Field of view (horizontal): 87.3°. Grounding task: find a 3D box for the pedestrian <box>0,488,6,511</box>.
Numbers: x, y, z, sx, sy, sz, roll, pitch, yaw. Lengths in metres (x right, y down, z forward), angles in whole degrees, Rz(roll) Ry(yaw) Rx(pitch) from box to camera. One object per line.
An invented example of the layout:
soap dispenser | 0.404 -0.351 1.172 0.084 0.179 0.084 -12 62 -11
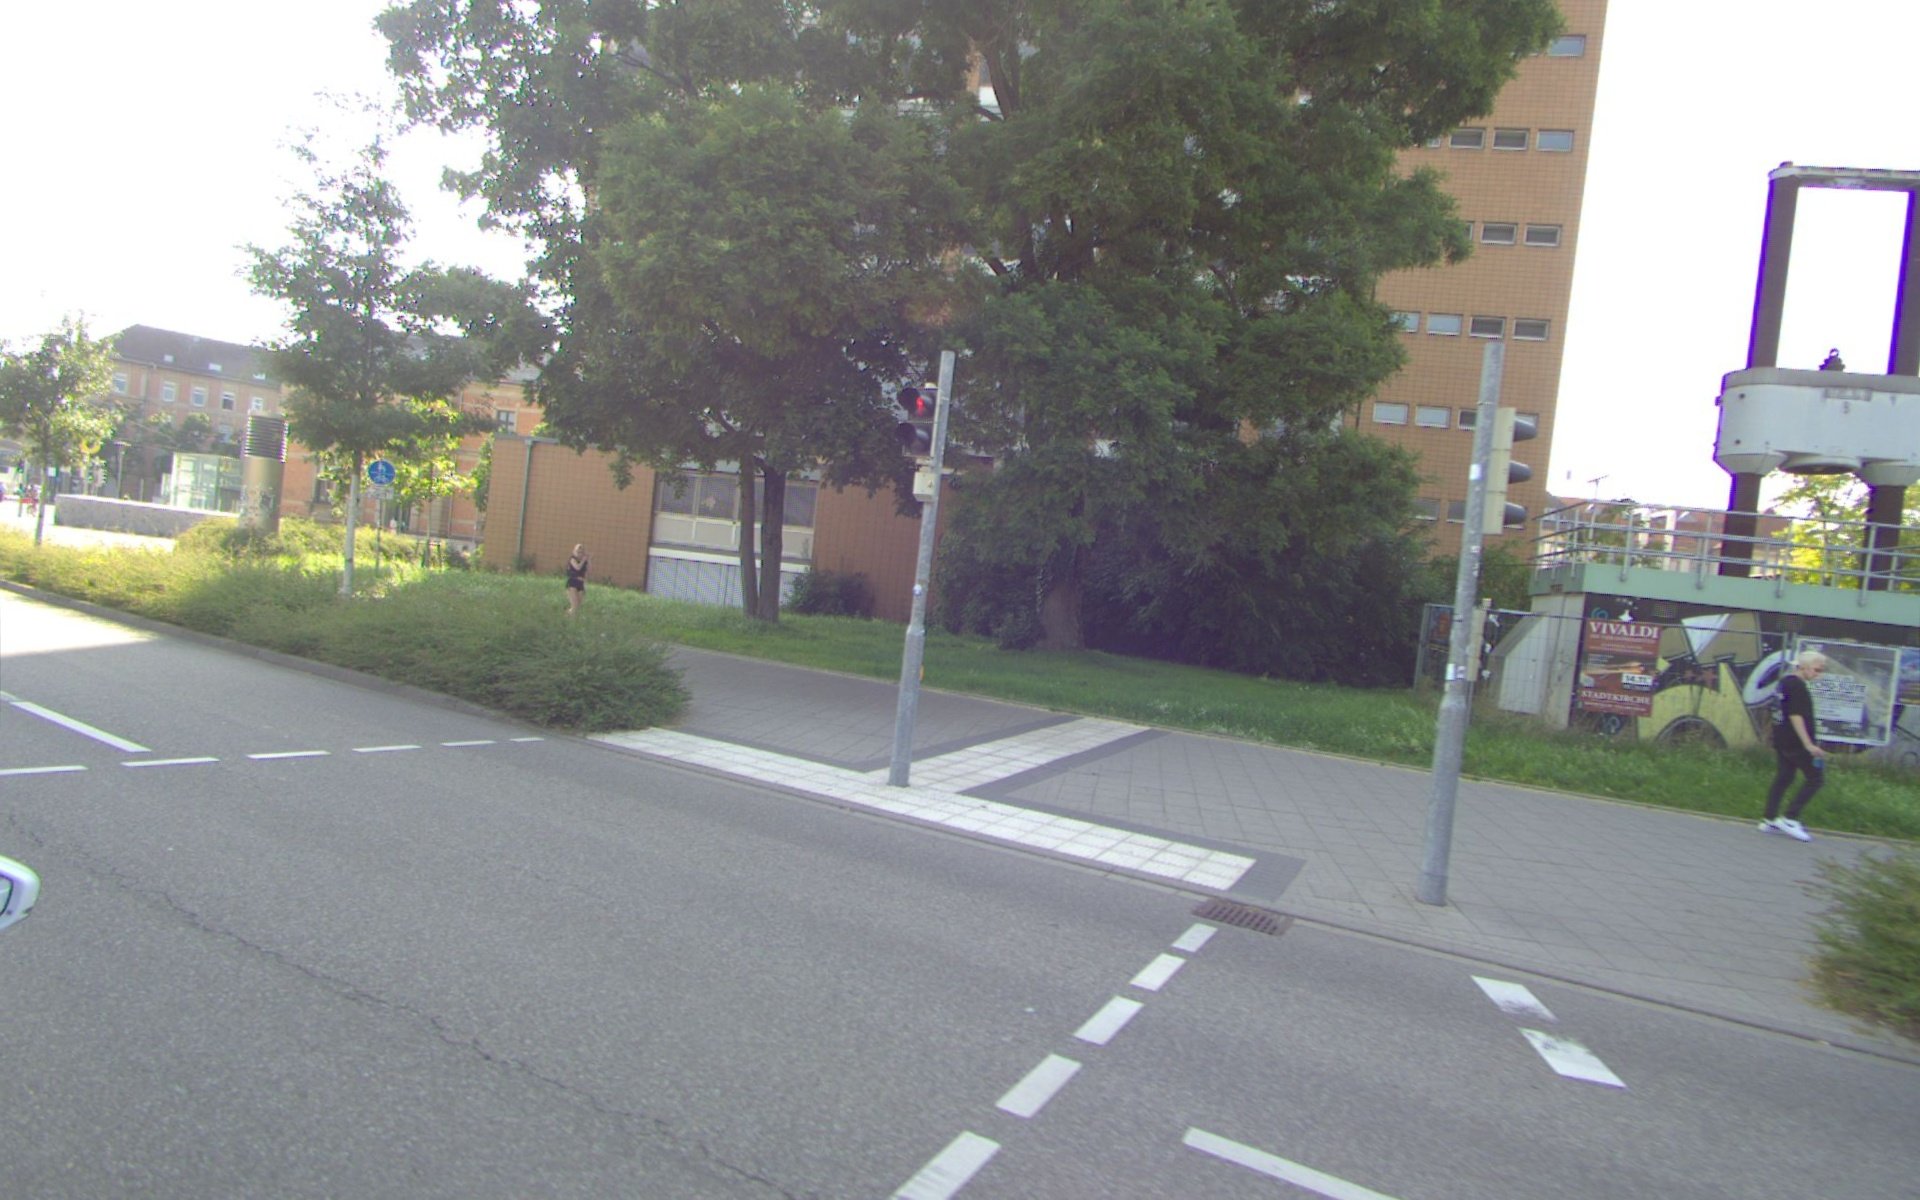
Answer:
pedestrian | -76.745 -8.060 79.923 0.844 1.820 0.927 6 1 -2

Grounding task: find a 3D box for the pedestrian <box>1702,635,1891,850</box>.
pedestrian | 7.937 1.301 9.622 0.985 1.807 0.959 7 3 25

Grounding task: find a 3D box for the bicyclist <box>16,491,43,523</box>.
bicyclist | -47.985 -4.765 51.900 0.714 1.532 0.996 5 1 -31

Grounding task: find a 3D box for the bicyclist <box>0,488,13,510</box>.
bicyclist | -78.380 -8.309 82.167 1.072 1.701 0.937 7 1 16

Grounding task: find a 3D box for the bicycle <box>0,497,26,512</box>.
bicycle | -78.377 -7.933 82.365 1.072 0.976 2.627 7 0 15

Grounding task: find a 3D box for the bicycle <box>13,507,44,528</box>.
bicycle | -48.011 -4.232 51.850 0.714 0.972 1.906 6 1 -30

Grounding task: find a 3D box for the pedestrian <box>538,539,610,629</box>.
pedestrian | -6.812 -0.274 17.748 0.844 1.461 0.724 7 1 36
